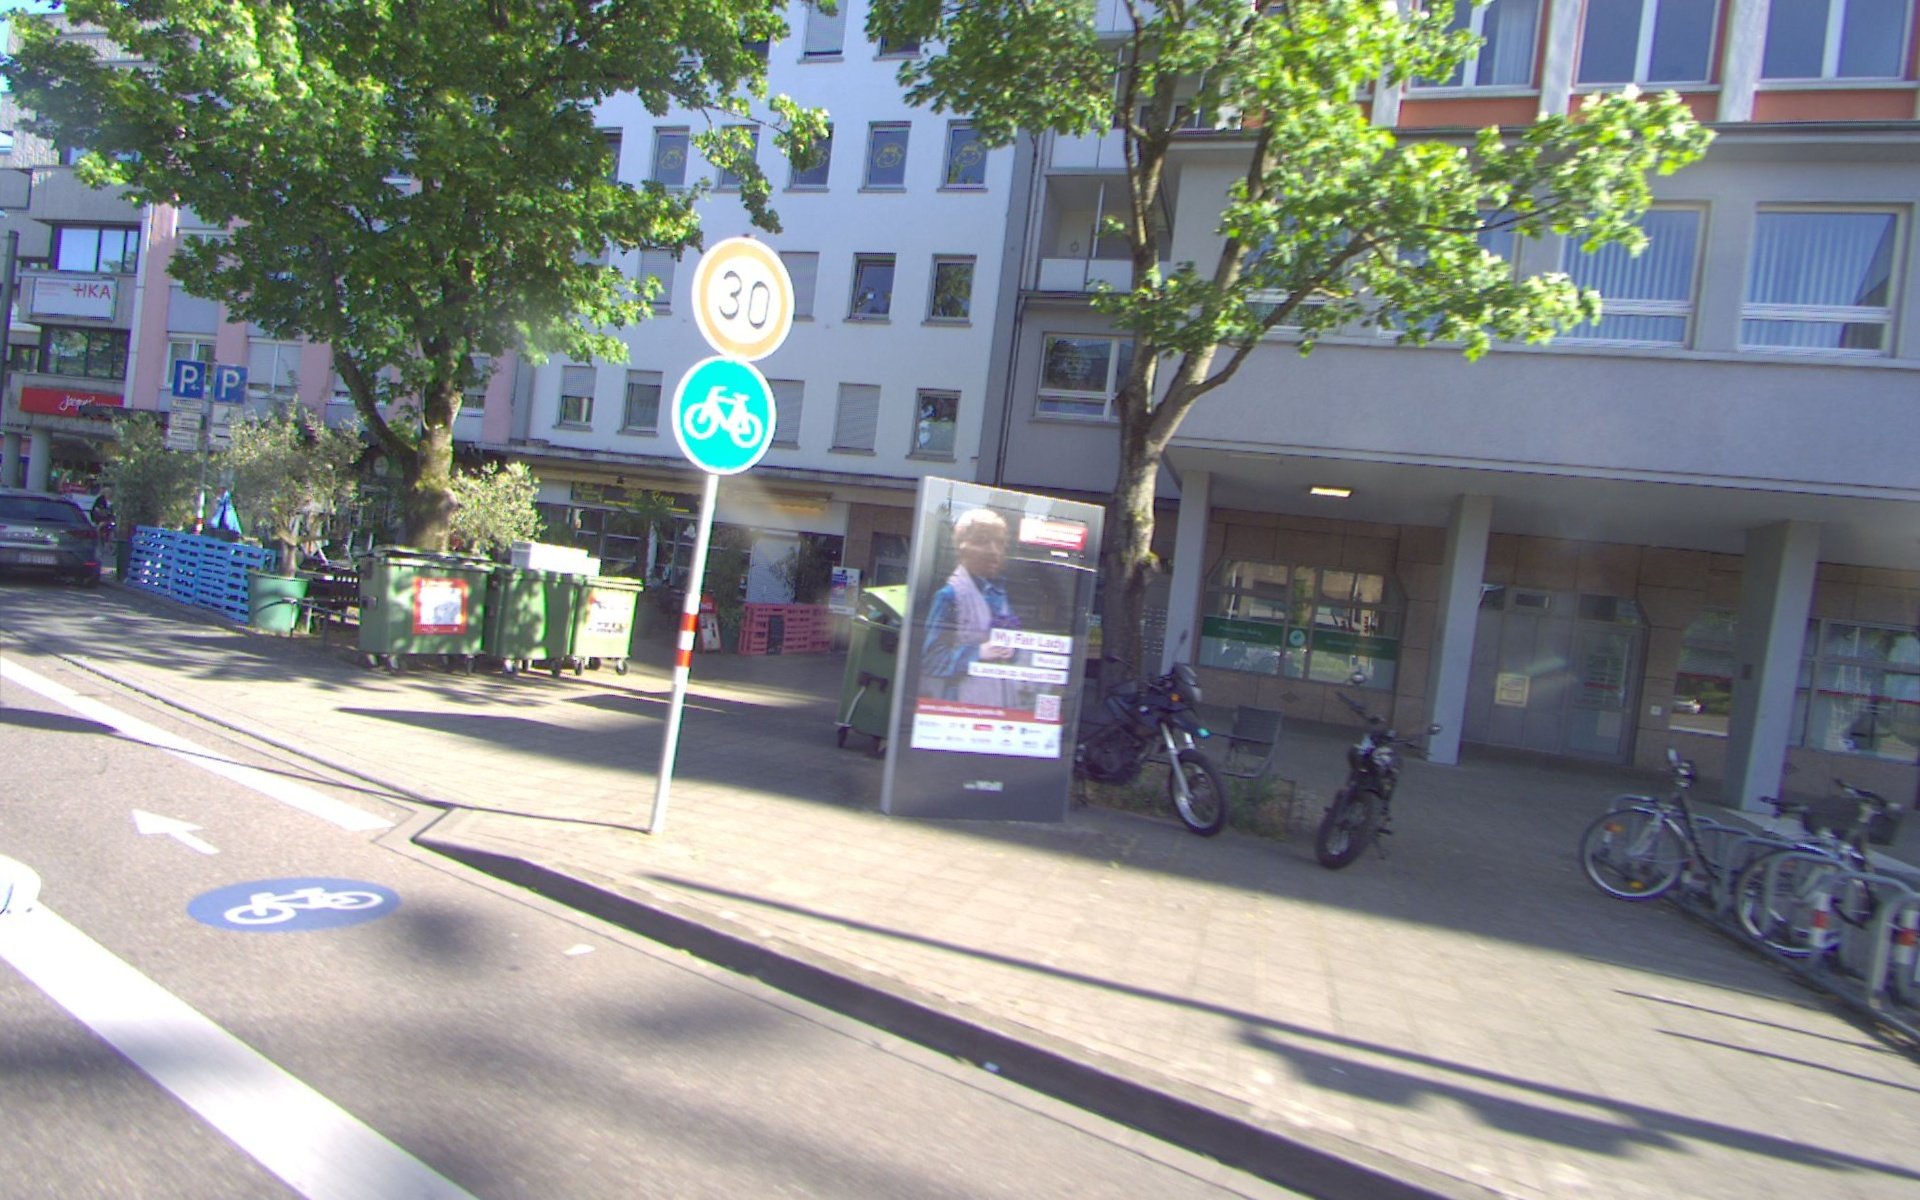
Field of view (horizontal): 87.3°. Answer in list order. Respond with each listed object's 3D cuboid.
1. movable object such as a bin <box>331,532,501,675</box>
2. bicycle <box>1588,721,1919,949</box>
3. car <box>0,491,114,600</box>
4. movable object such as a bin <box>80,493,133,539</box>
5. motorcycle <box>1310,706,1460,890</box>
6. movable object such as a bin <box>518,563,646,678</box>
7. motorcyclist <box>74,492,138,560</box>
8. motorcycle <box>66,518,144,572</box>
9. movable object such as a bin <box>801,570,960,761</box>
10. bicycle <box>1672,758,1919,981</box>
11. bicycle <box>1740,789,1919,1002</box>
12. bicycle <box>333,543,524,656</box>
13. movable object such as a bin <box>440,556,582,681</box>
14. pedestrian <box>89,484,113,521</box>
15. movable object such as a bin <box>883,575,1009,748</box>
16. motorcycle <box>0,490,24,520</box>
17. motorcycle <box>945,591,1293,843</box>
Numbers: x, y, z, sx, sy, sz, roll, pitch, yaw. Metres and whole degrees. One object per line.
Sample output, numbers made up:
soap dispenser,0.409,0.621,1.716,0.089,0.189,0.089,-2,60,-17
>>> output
movable object such as a bin,-6.084,0.058,11.287,0.907,1.407,1.282,6,-2,35
bicycle,5.692,1.634,7.236,1.812,1.258,0.534,6,-1,15
car,-15.489,-0.999,16.365,4.515,1.456,1.764,7,1,39
movable object such as a bin,-30.806,-3.029,36.306,1.331,1.414,1.108,8,-2,-42
motorcycle,3.179,1.420,7.730,0.748,1.033,2.105,7,-1,18
movable object such as a bin,-5.132,0.307,13.729,0.941,1.407,1.218,6,-1,18
motorcyclist,-21.881,-1.899,25.782,0.793,1.569,0.899,6,-1,31
motorcycle,-21.951,-1.422,25.826,2.260,1.139,0.777,6,-2,32
movable object such as a bin,-0.746,0.628,10.002,0.989,1.659,1.386,6,0,16
bicycle,5.778,1.719,6.266,2.079,1.130,0.477,6,-1,13
bicycle,5.678,1.731,5.559,2.079,0.996,0.477,6,-1,13
bicycle,-7.211,0.002,13.757,2.143,1.266,0.893,7,0,-28
movable object such as a bin,-5.485,0.256,12.365,0.910,1.372,1.177,6,-1,18
pedestrian,-45.953,-5.186,53.823,0.699,1.837,0.710,7,-1,-34
movable object such as a bin,-0.124,0.661,11.211,0.927,1.730,1.260,6,0,16
motorcycle,-41.037,-4.111,43.395,0.760,1.170,2.026,3,1,-39
motorcycle,1.264,0.872,8.130,2.499,1.558,0.805,7,-1,23
